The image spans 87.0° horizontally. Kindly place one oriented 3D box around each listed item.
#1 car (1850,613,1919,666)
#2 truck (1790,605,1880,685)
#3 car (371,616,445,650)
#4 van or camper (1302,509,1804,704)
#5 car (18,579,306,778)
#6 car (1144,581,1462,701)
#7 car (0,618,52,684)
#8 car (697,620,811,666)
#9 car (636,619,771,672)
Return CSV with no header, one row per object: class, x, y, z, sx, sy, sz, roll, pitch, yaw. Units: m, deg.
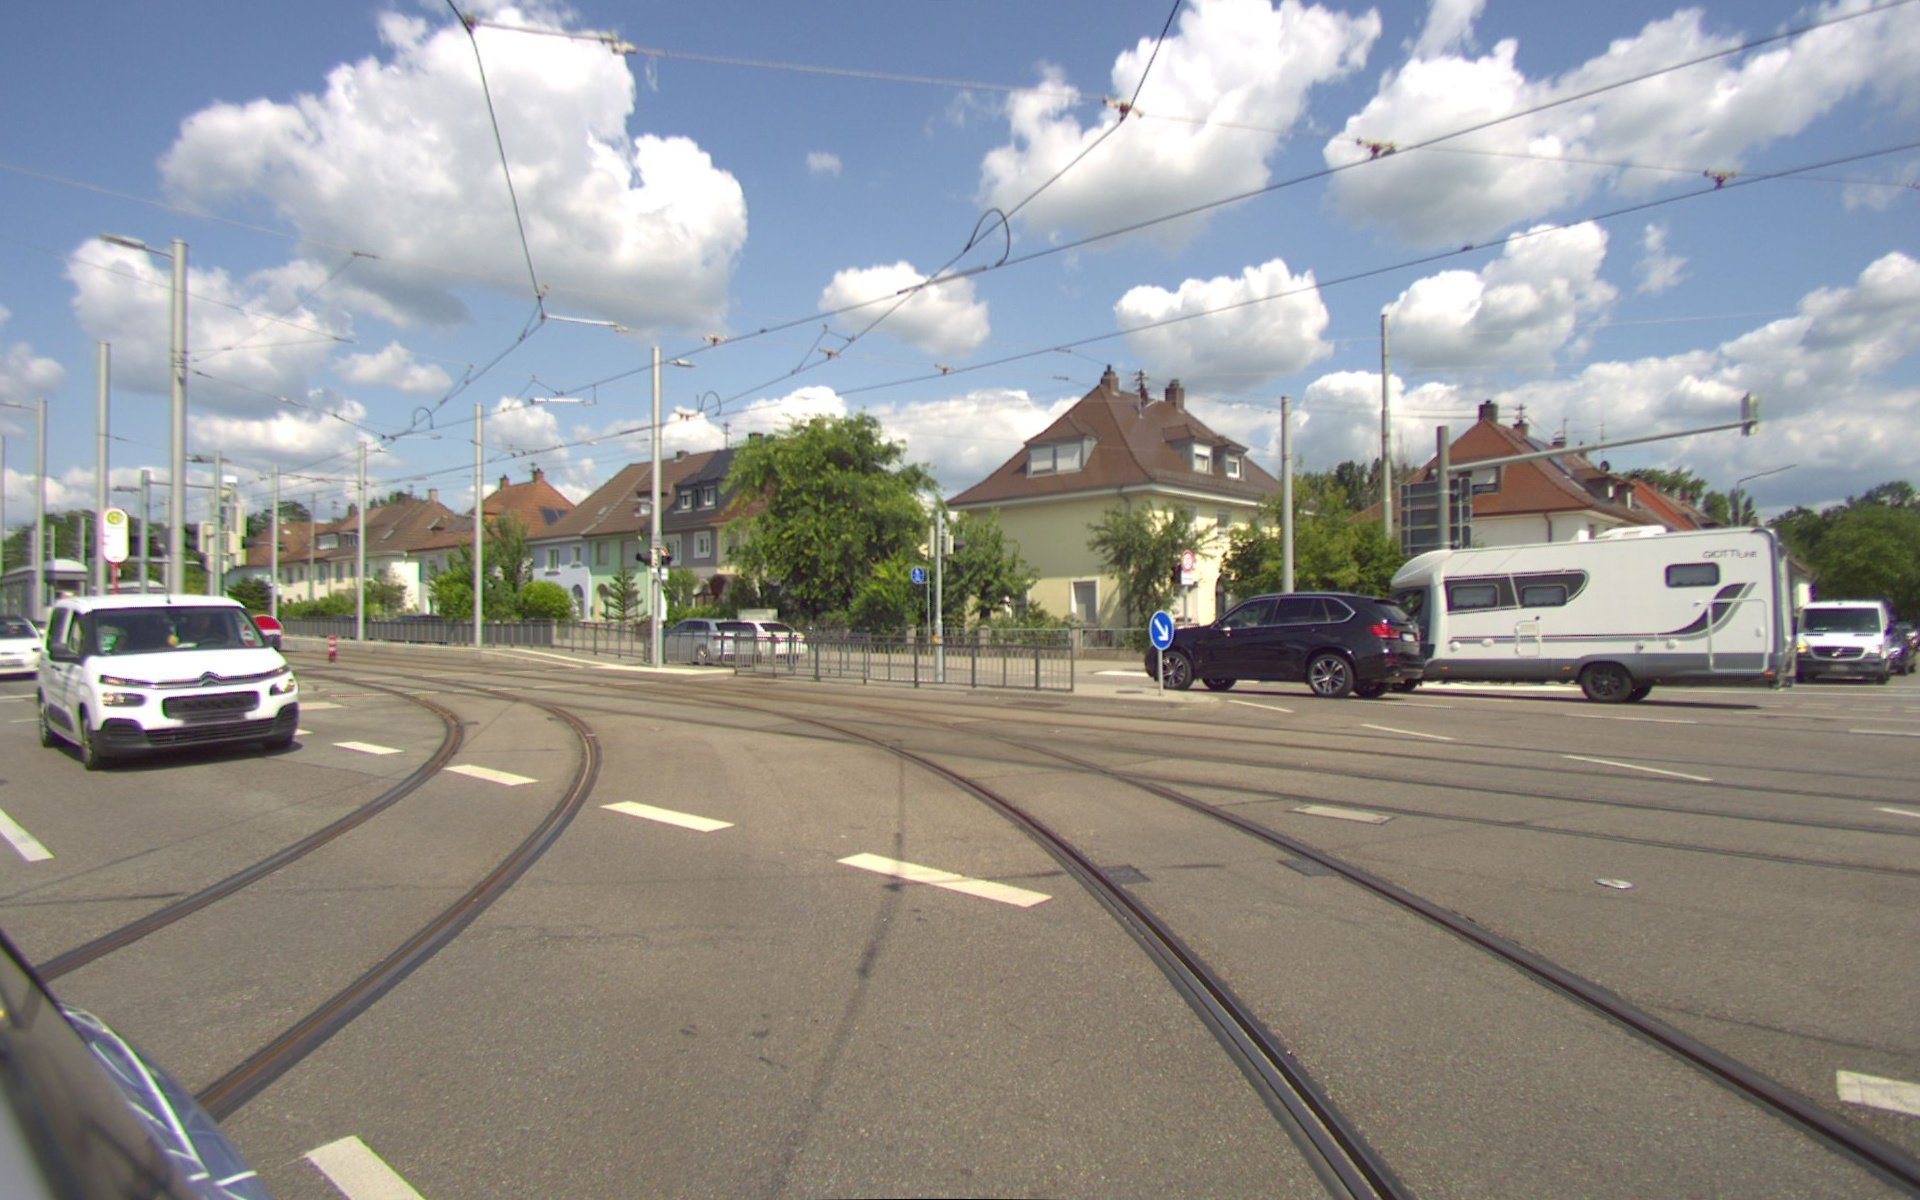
car,31.153,1.269,33.776,2.001,1.564,4.118,1,1,44
truck,25.353,1.182,29.242,1.690,1.936,6.116,0,1,44
car,-25.147,1.469,46.052,4.177,1.362,1.666,0,1,42
van or camper,10.566,0.181,18.825,7.754,2.952,2.298,-1,-3,43
car,-9.134,0.740,11.446,4.327,1.829,1.776,-1,0,41
car,5.816,0.682,17.611,4.879,1.790,1.971,-1,-3,44
car,-23.758,1.230,24.826,3.389,1.515,1.660,-1,1,38
car,-7.109,1.417,34.658,4.347,1.362,1.665,0,1,44
car,-7.770,1.312,30.504,4.177,1.362,1.972,0,1,42
